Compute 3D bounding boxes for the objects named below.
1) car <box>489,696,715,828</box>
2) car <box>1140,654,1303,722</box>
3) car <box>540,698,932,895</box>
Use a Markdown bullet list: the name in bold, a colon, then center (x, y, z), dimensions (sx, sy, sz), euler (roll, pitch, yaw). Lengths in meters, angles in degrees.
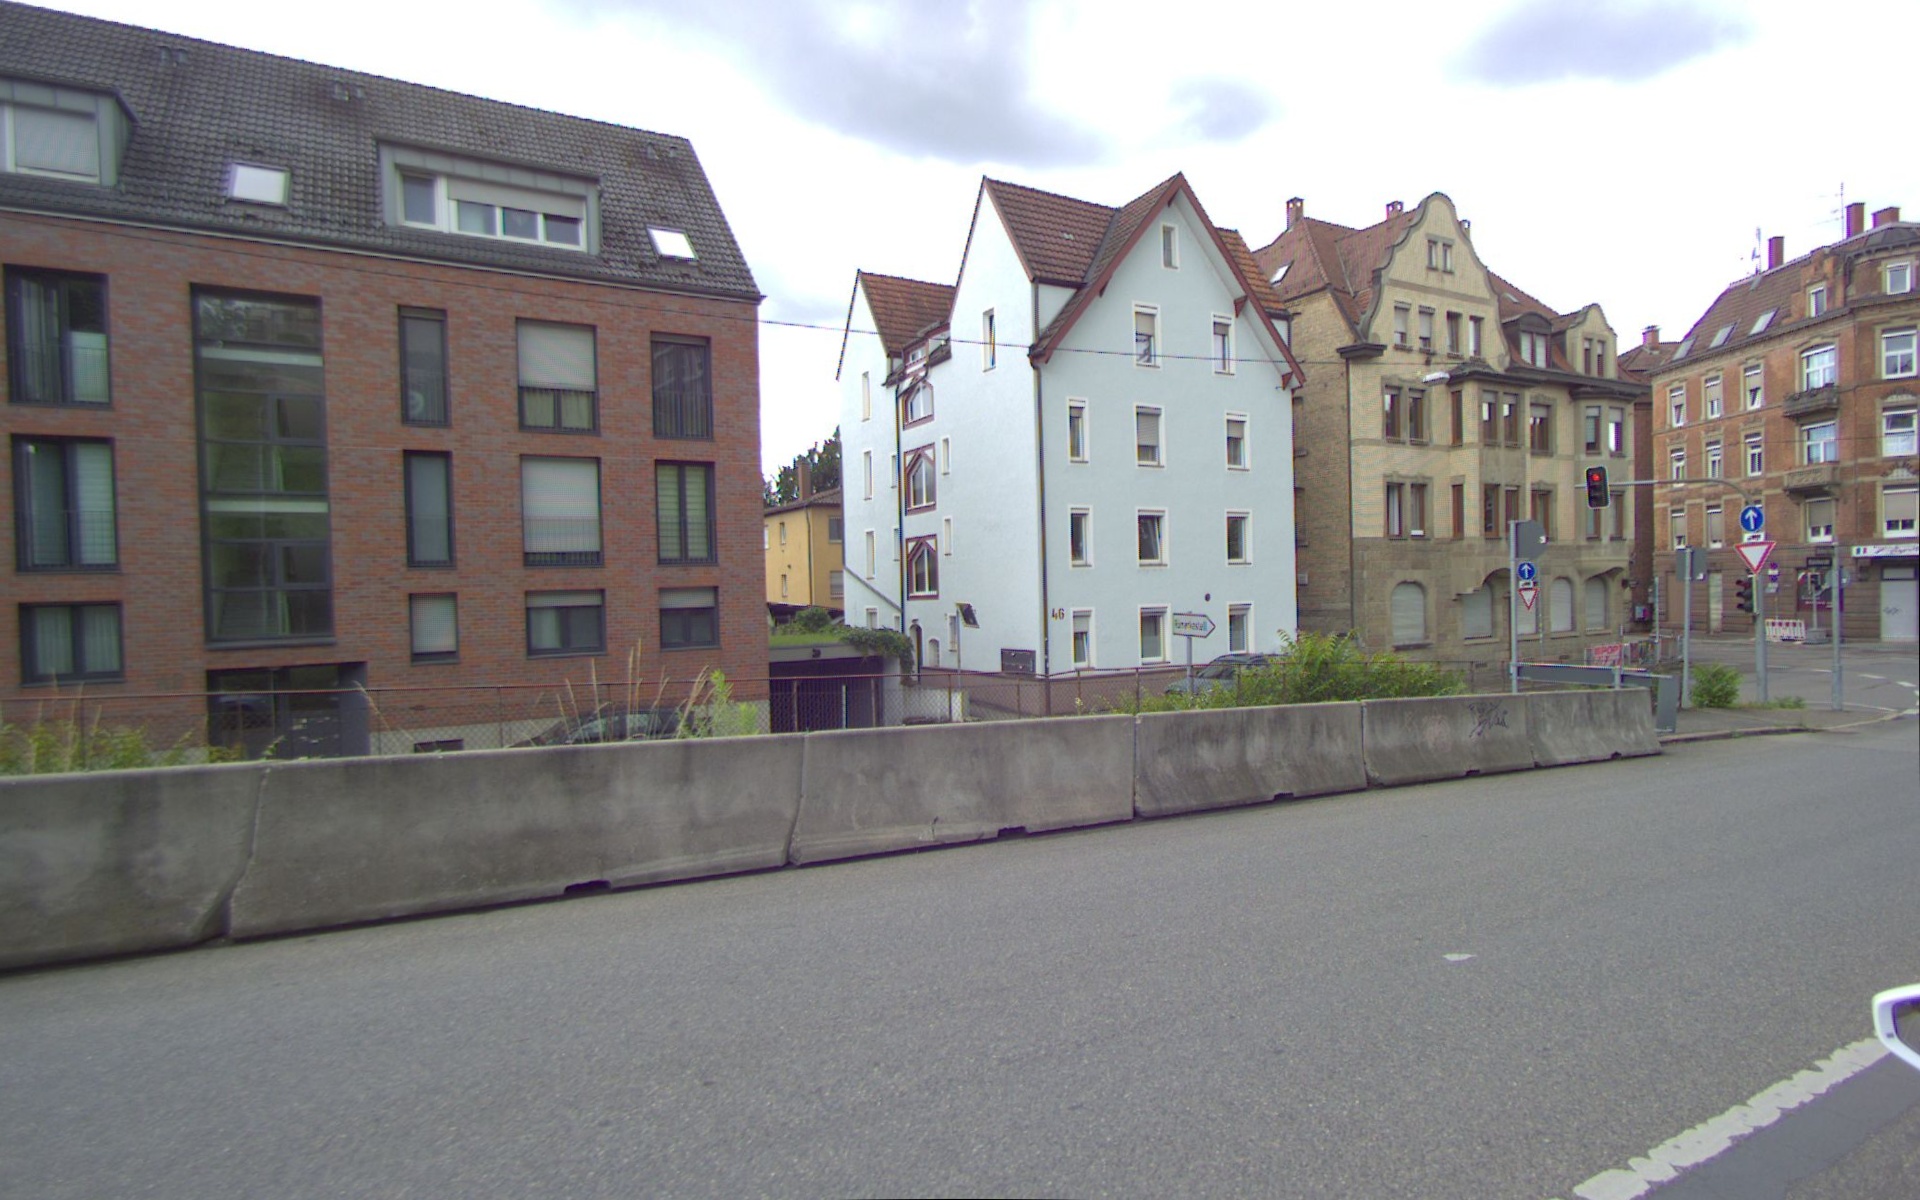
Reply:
- **car**: center (-6.622, 2.900, 18.634), dimensions (3.722, 1.826, 1.706), euler (-1, 2, -30)
- **car**: center (6.894, 2.235, 26.333), dimensions (4.184, 1.575, 1.674), euler (1, -3, -31)
- **car**: center (-2.383, 1.996, 11.073), dimensions (3.956, 1.534, 1.526), euler (1, 0, -33)
